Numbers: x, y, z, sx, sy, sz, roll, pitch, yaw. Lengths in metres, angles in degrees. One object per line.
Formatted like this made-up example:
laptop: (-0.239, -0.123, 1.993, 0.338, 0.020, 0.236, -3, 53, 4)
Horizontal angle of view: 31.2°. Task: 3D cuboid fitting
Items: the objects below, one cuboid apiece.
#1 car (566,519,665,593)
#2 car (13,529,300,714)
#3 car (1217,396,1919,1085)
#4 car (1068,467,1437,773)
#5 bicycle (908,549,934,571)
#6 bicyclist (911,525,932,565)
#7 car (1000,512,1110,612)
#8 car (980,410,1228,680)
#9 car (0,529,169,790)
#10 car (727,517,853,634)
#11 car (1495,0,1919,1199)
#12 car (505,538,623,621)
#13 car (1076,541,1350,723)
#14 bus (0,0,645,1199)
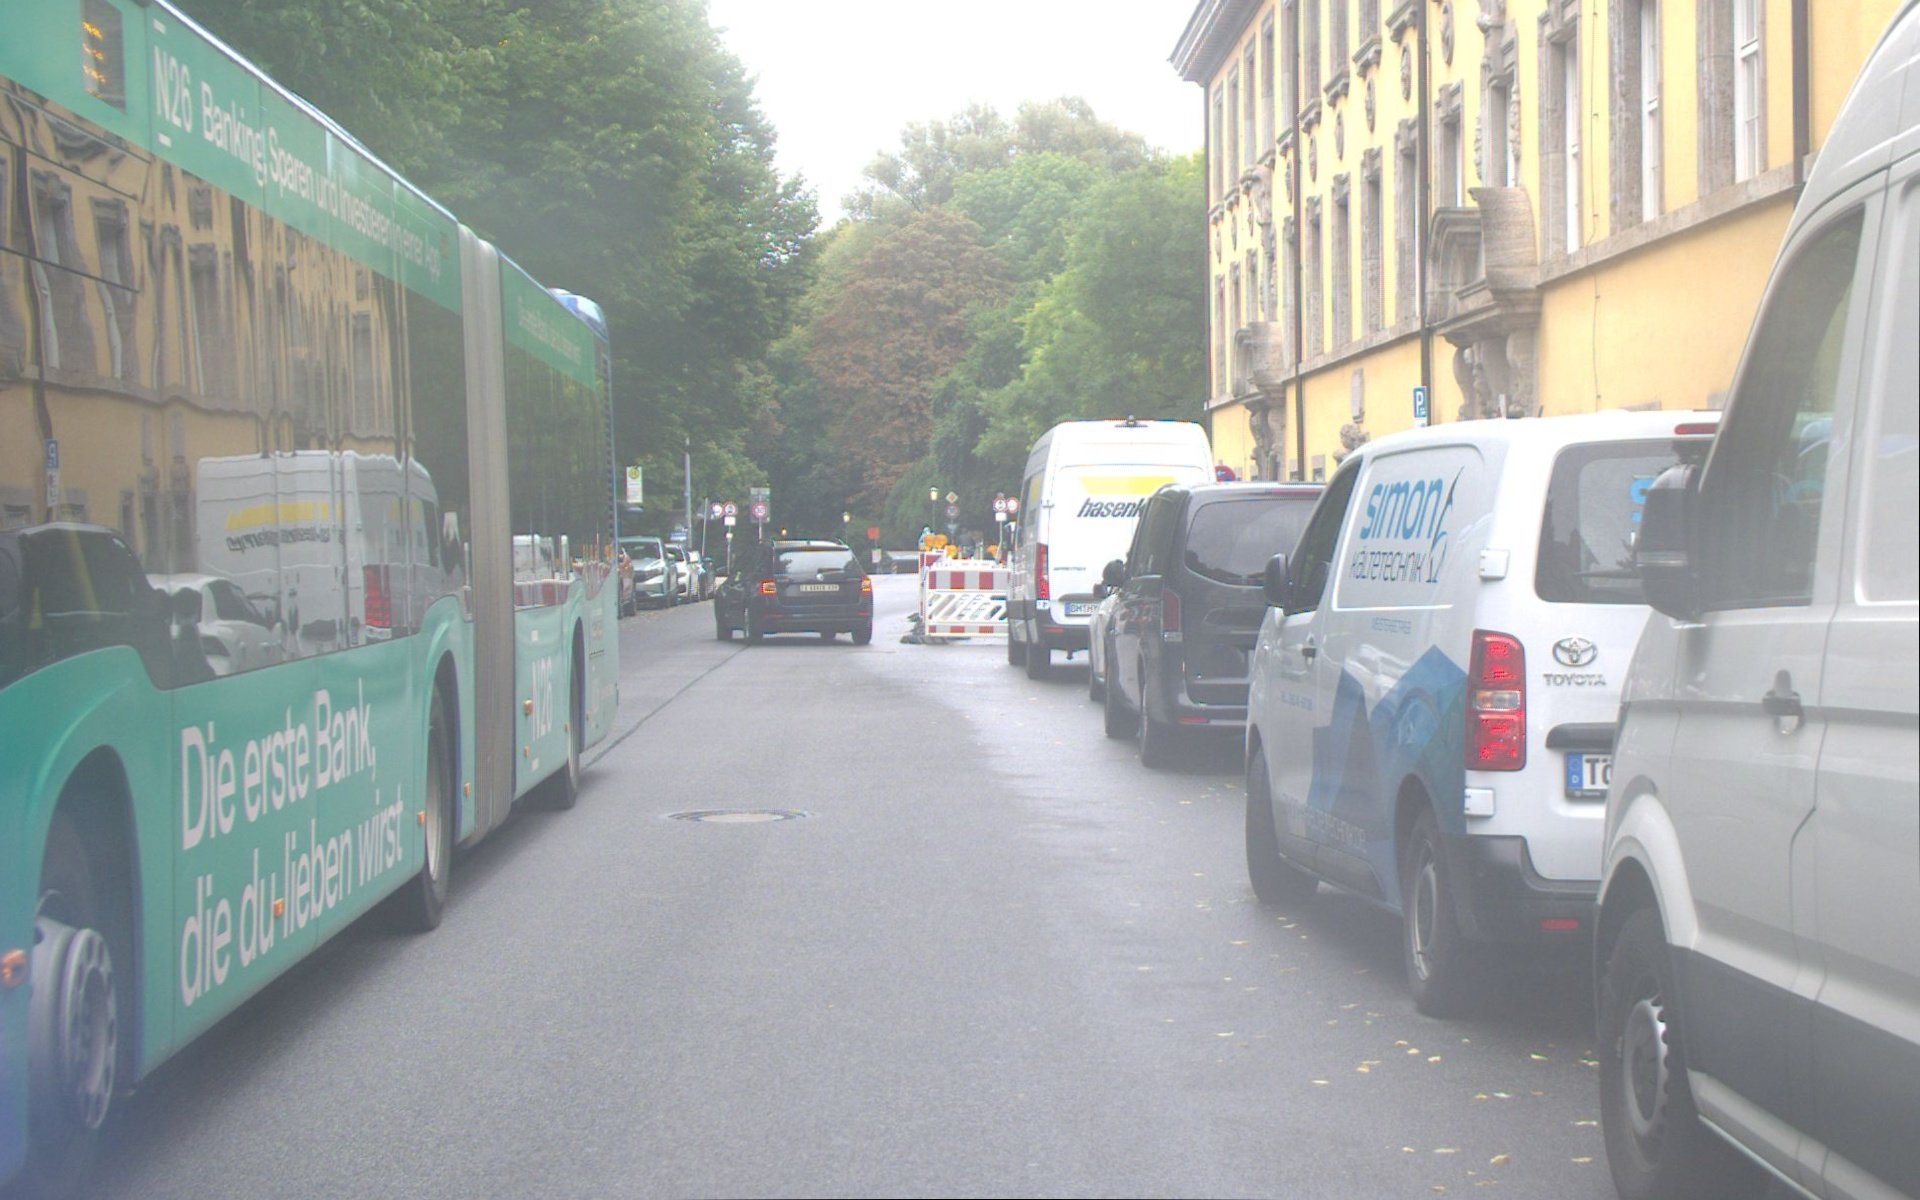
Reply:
car: (-7.699, -0.981, 77.130, 1.815, 1.596, 4.514, -1, 1, -1)
car: (-6.844, 0.147, 29.643, 1.672, 1.464, 4.104, -1, 1, -3)
car: (2.221, 0.355, 12.146, 2.013, 1.900, 5.164, 1, 1, -2)
car: (1.874, 0.092, 23.566, 1.870, 1.862, 4.987, -1, 1, -3)
bicycle: (-1.499, -1.525, 132.169, 0.679, 0.827, 2.110, -1, 0, -10)
bicyclist: (-1.485, -2.109, 132.095, 0.680, 1.499, 0.901, -1, 1, -9)
car: (1.699, -0.671, 62.680, 1.739, 1.744, 4.356, -1, 0, -2)
car: (1.450, -0.595, 37.928, 2.054, 2.664, 7.615, -1, 1, -3)
car: (-6.673, 0.343, 23.223, 1.784, 1.592, 4.585, -1, 1, -3)
car: (-2.355, -0.359, 48.493, 1.577, 1.578, 4.044, -1, 1, 0)
car: (2.430, 0.162, 5.239, 2.095, 2.479, 5.740, -1, 0, -2)
car: (-7.132, -0.400, 62.271, 1.727, 1.418, 4.252, -1, 1, -1)
car: (2.110, 0.232, 29.827, 1.870, 1.453, 4.256, -1, 1, -3)
bus: (-3.231, -0.272, 13.372, 2.859, 3.228, 18.427, -1, 0, -2)
